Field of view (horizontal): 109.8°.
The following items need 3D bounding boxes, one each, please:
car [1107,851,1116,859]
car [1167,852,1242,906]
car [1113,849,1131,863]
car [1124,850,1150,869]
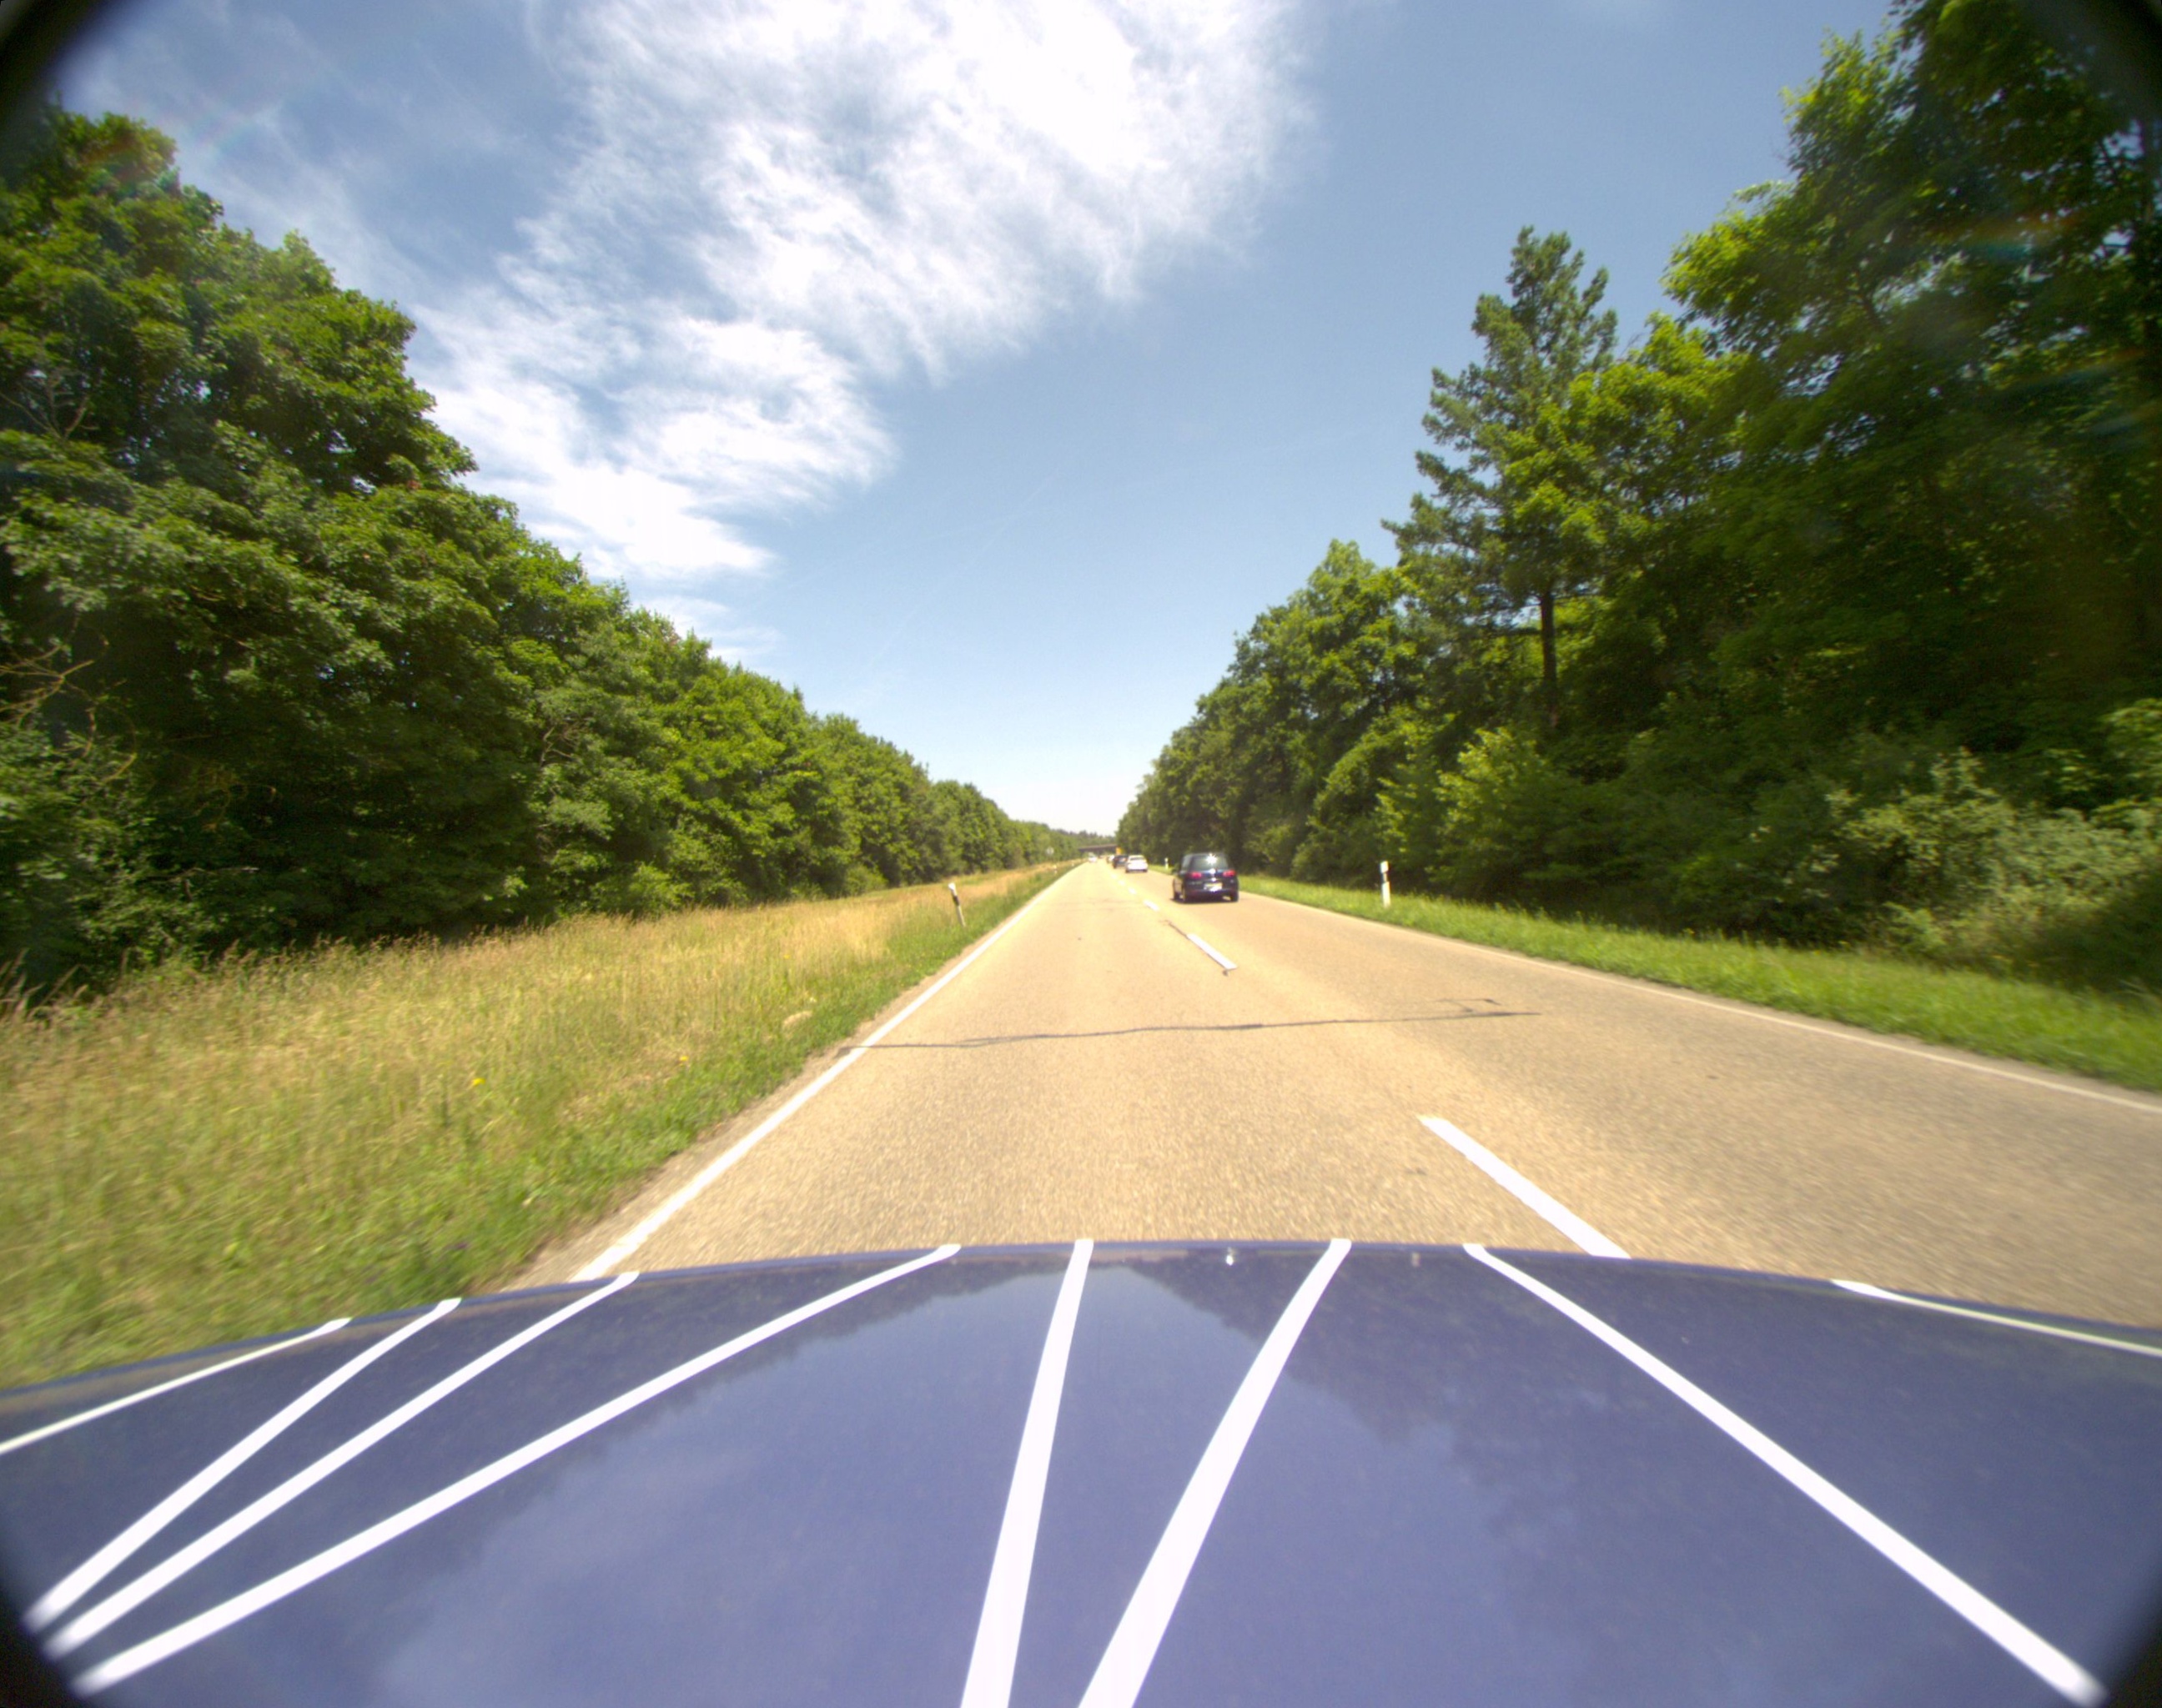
[{"bbox_3d":[6.121,0.281,153.143,1.671,1.487,3.684,-3,0,1],"label":"car"},{"bbox_3d":[3.850,0.730,24.243,1.676,1.510,3.999,-2,1,0],"label":"car"},{"bbox_3d":[4.866,0.217,89.991,1.870,1.615,4.200,-2,0,0],"label":"car"},{"bbox_3d":[4.820,0.482,66.172,1.844,1.527,4.658,-2,0,0],"label":"car"}]
